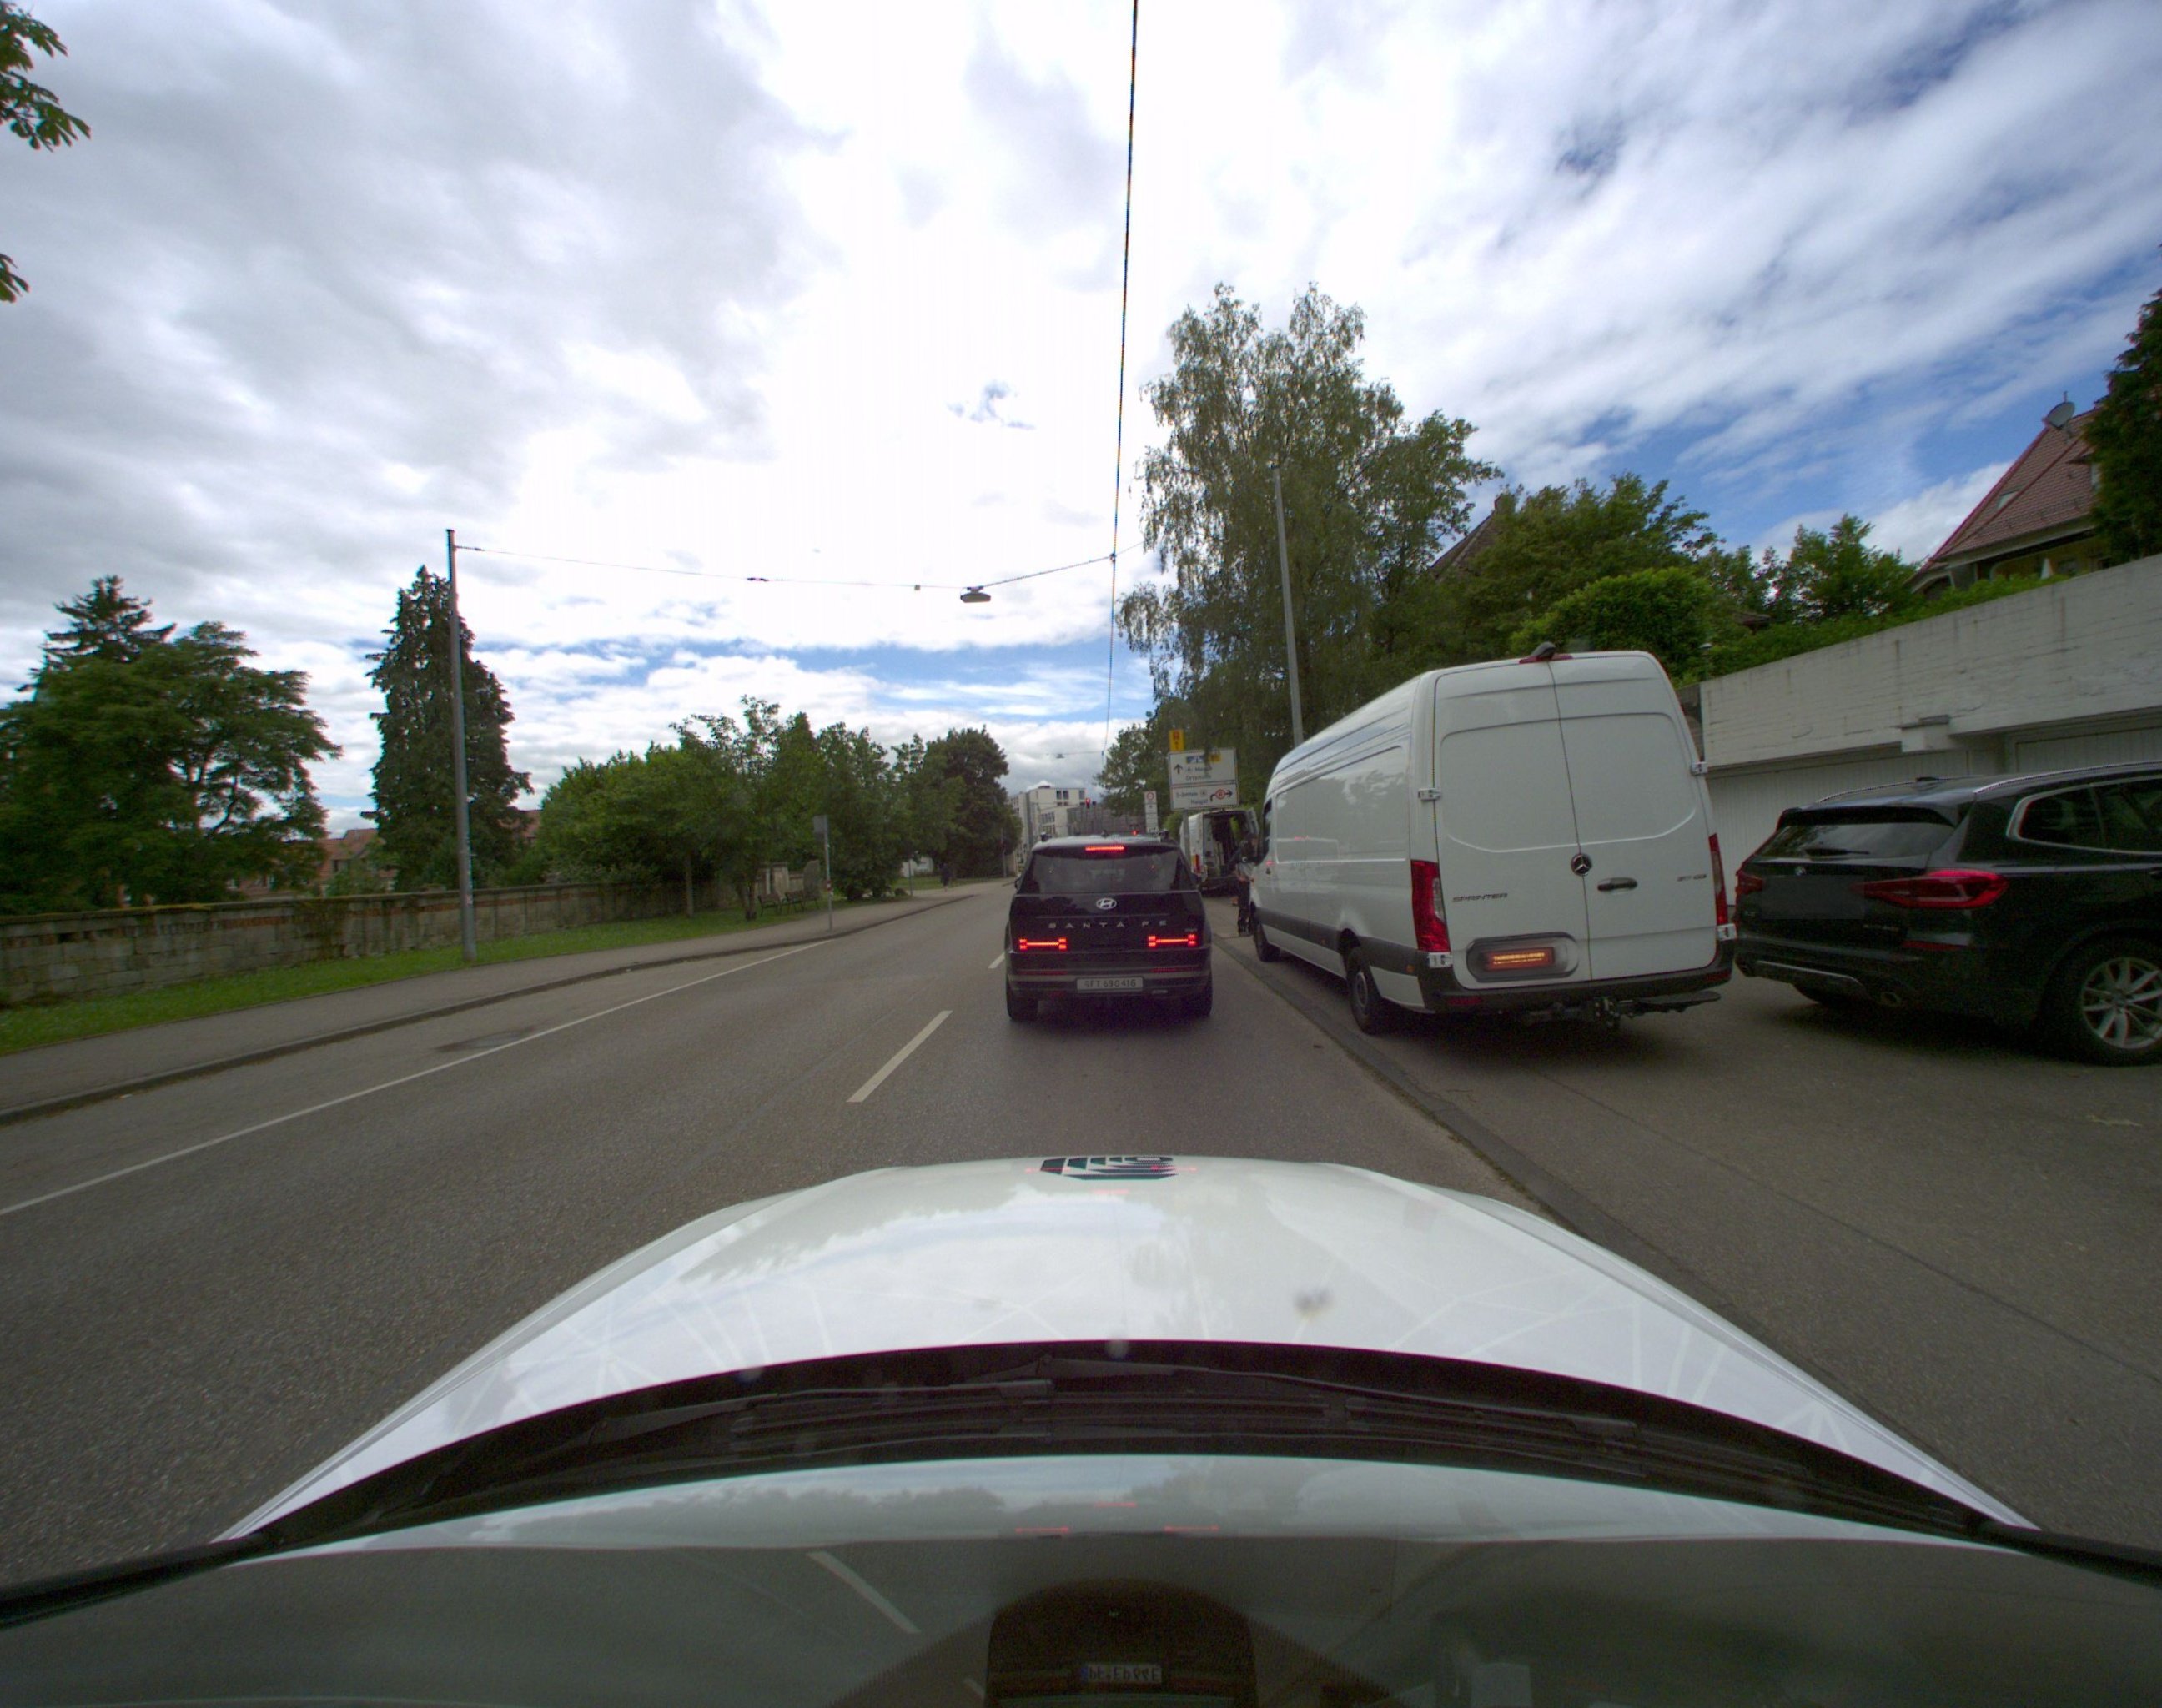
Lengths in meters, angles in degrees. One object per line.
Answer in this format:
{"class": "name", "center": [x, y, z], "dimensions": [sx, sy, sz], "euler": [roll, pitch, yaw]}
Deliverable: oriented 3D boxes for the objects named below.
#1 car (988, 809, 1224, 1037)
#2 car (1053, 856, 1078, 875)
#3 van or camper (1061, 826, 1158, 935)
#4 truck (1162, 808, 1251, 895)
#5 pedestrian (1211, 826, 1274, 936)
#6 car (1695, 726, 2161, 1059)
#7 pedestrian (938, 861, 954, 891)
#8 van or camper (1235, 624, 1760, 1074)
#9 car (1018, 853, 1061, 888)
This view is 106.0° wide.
{"class": "car", "center": [0.266, 0.569, 8.668], "dimensions": [1.883, 1.819, 4.002], "euler": [-2, 0, 2]}
{"class": "car", "center": [-1.353, 0.995, 72.292], "dimensions": [1.852, 1.453, 4.112], "euler": [-6, 0, 2]}
{"class": "van or camper", "center": [0.614, 0.511, 17.611], "dimensions": [1.748, 2.013, 4.002], "euler": [-3, 0, 2]}
{"class": "truck", "center": [4.182, -0.045, 28.043], "dimensions": [1.937, 2.561, 5.213], "euler": [-5, -1, -1]}
{"class": "pedestrian", "center": [2.761, 0.448, 14.007], "dimensions": [0.867, 1.797, 0.760], "euler": [-3, 0, 1]}
{"class": "car", "center": [6.862, 0.130, 5.229], "dimensions": [4.398, 1.750, 1.739], "euler": [-3, 0, 3]}
{"class": "pedestrian", "center": [-7.751, 1.257, 46.802], "dimensions": [0.737, 1.715, 0.791], "euler": [-3, 0, -5]}
{"class": "van or camper", "center": [3.133, -0.026, 8.198], "dimensions": [1.986, 2.620, 6.543], "euler": [-3, 0, 2]}
{"class": "car", "center": [-2.249, 0.870, 44.806], "dimensions": [1.852, 1.657, 4.307], "euler": [-6, 0, 2]}
